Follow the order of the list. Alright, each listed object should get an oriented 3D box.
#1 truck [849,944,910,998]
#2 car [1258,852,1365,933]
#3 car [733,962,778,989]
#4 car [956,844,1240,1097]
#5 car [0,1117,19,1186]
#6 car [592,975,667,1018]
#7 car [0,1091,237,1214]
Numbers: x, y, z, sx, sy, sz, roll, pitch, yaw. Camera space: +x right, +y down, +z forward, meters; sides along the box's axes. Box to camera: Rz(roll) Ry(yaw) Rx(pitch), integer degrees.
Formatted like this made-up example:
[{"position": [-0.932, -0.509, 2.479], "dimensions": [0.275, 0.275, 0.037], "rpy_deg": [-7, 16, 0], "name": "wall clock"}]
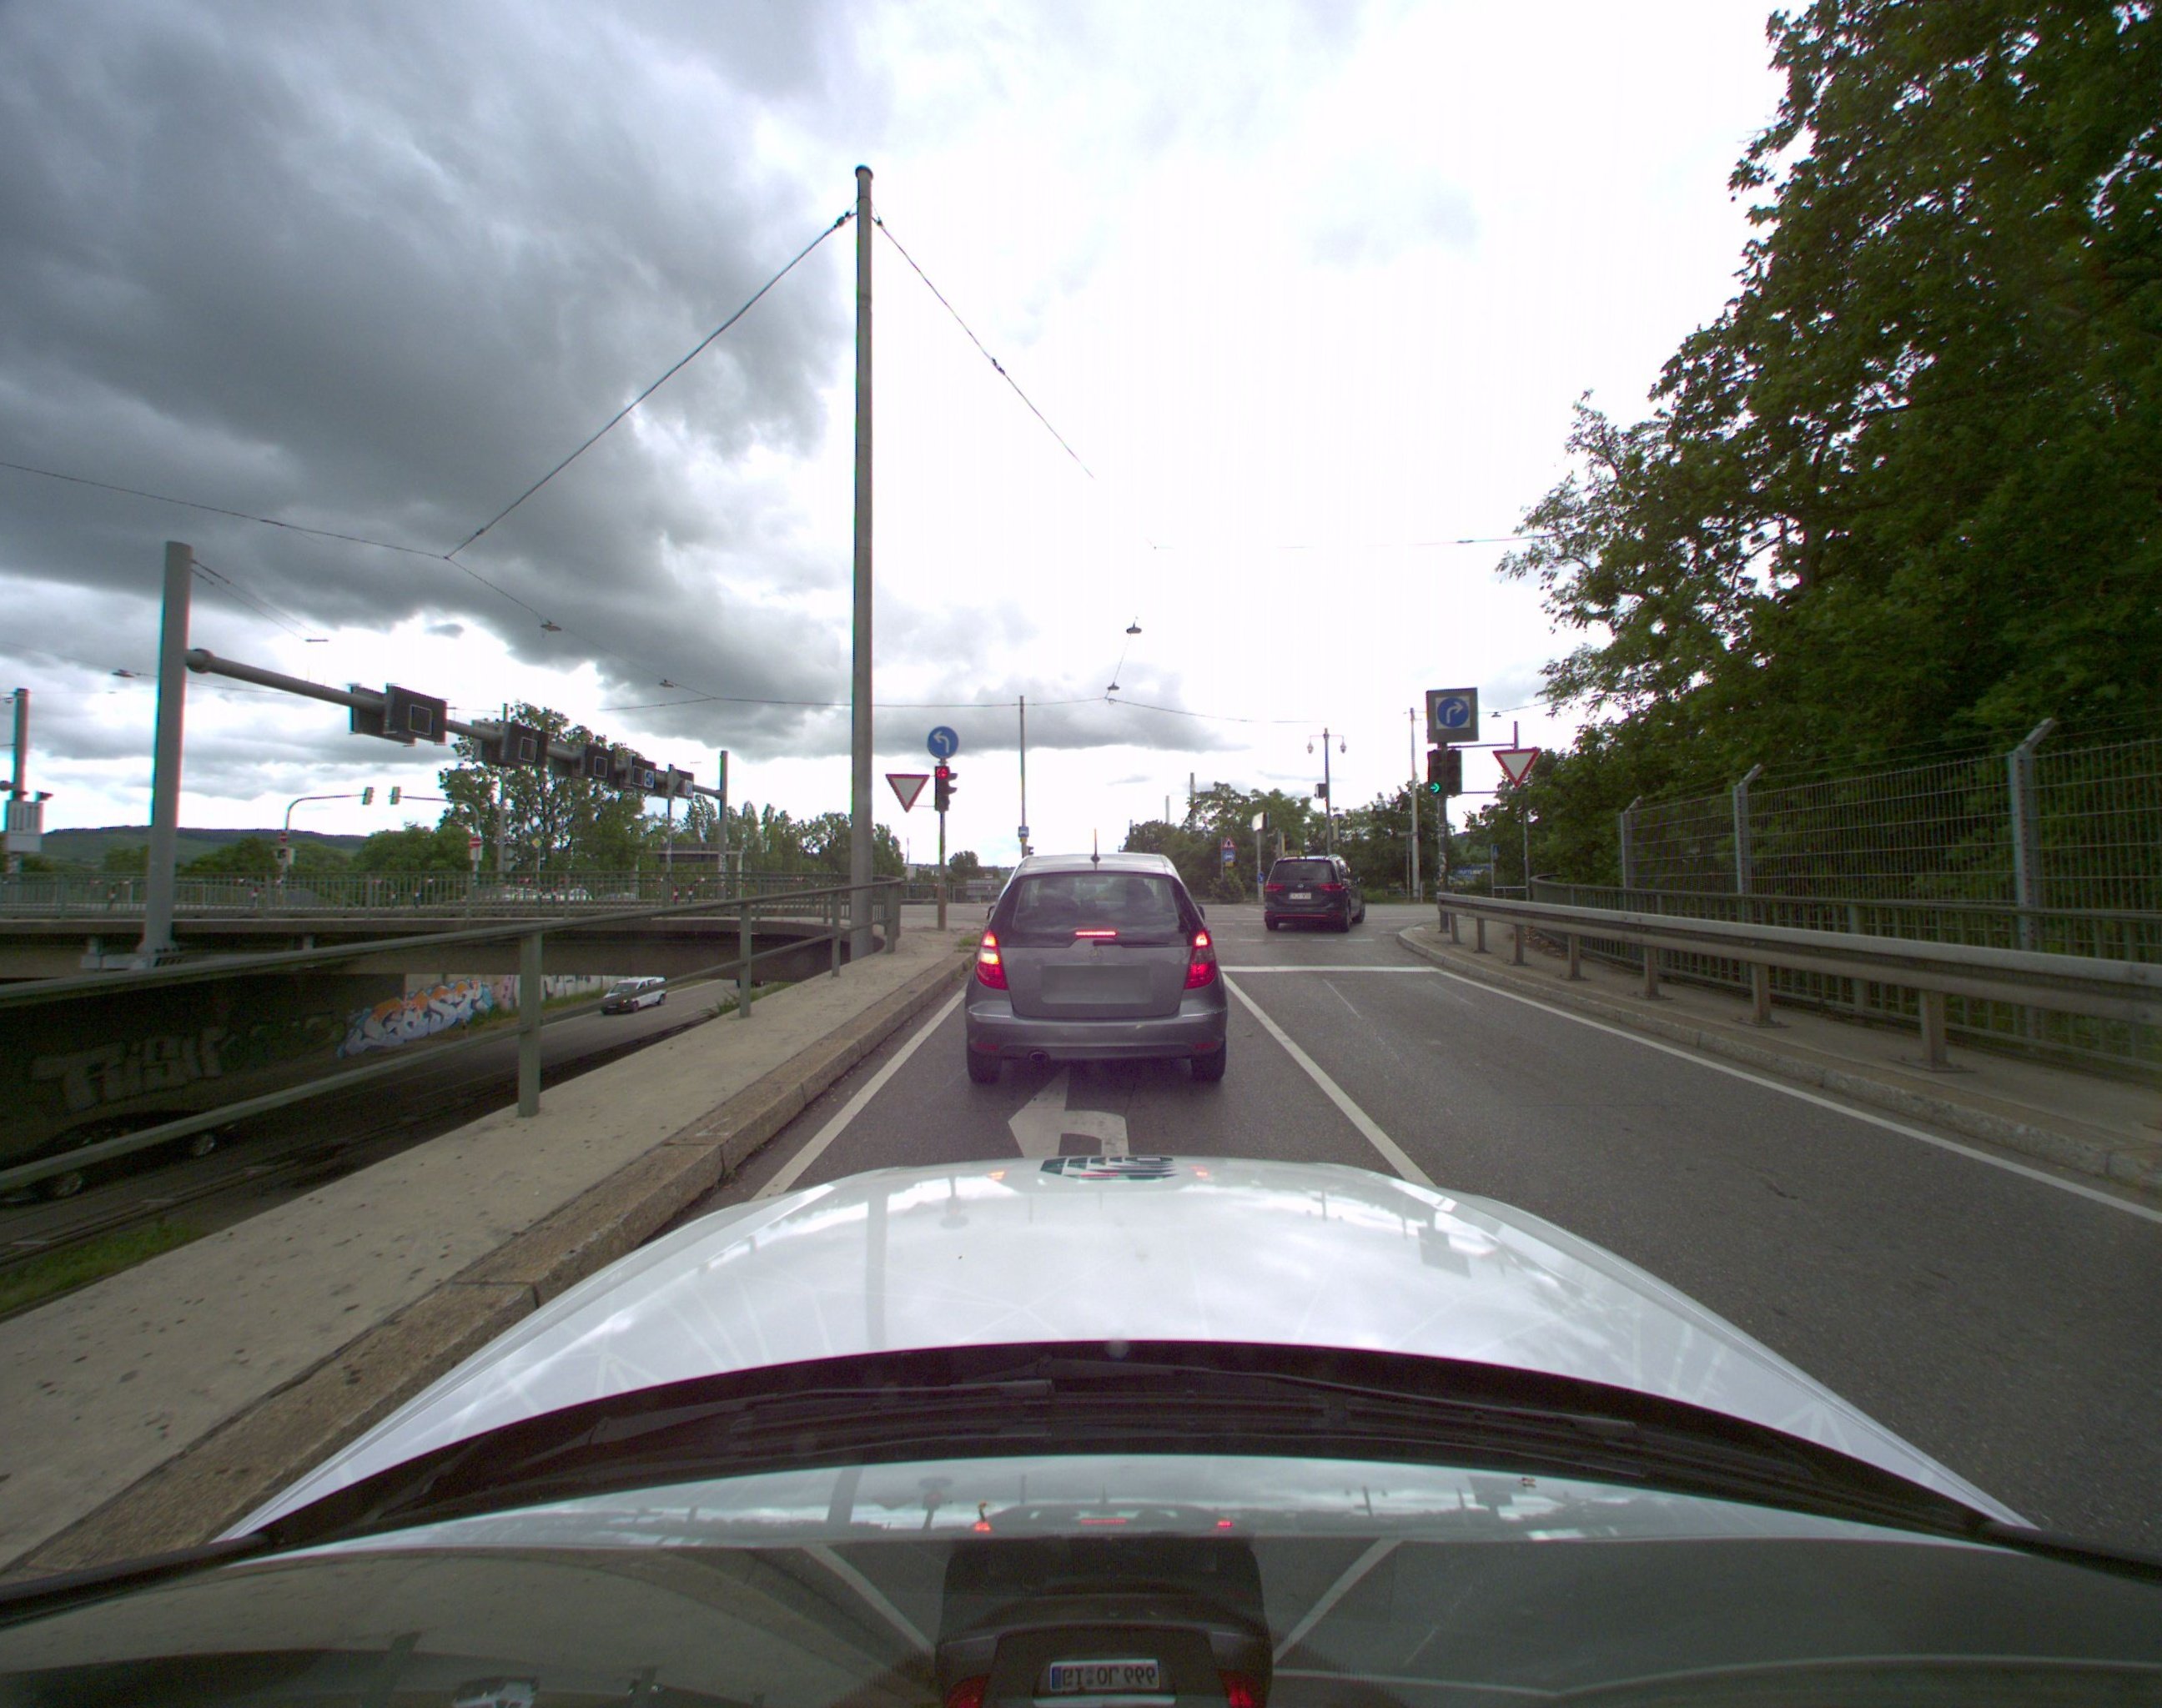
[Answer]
[{"position": [-14.063, 8.142, 57.487], "dimensions": [2.224, 3.009, 7.233], "rpy_deg": [-2, -3, 2], "name": "truck"}, {"position": [5.448, 0.793, 18.881], "dimensions": [1.780, 1.653, 4.173], "rpy_deg": [-1, -1, 24], "name": "car"}, {"position": [-24.904, 9.273, 62.431], "dimensions": [1.659, 1.621, 4.001], "rpy_deg": [-3, -3, 2], "name": "car"}, {"position": [0.164, 0.730, 6.772], "dimensions": [1.733, 1.543, 3.542], "rpy_deg": [0, -1, 2], "name": "car"}, {"position": [-28.518, 7.583, 18.772], "dimensions": [1.986, 1.626, 4.580], "rpy_deg": [-3, -3, 2], "name": "car"}, {"position": [-27.897, 8.776, 50.568], "dimensions": [1.941, 1.908, 4.907], "rpy_deg": [-2, -3, -1], "name": "car"}, {"position": [-25.024, 7.495, 20.840], "dimensions": [1.986, 1.626, 4.580], "rpy_deg": [-3, -3, 2], "name": "car"}]
